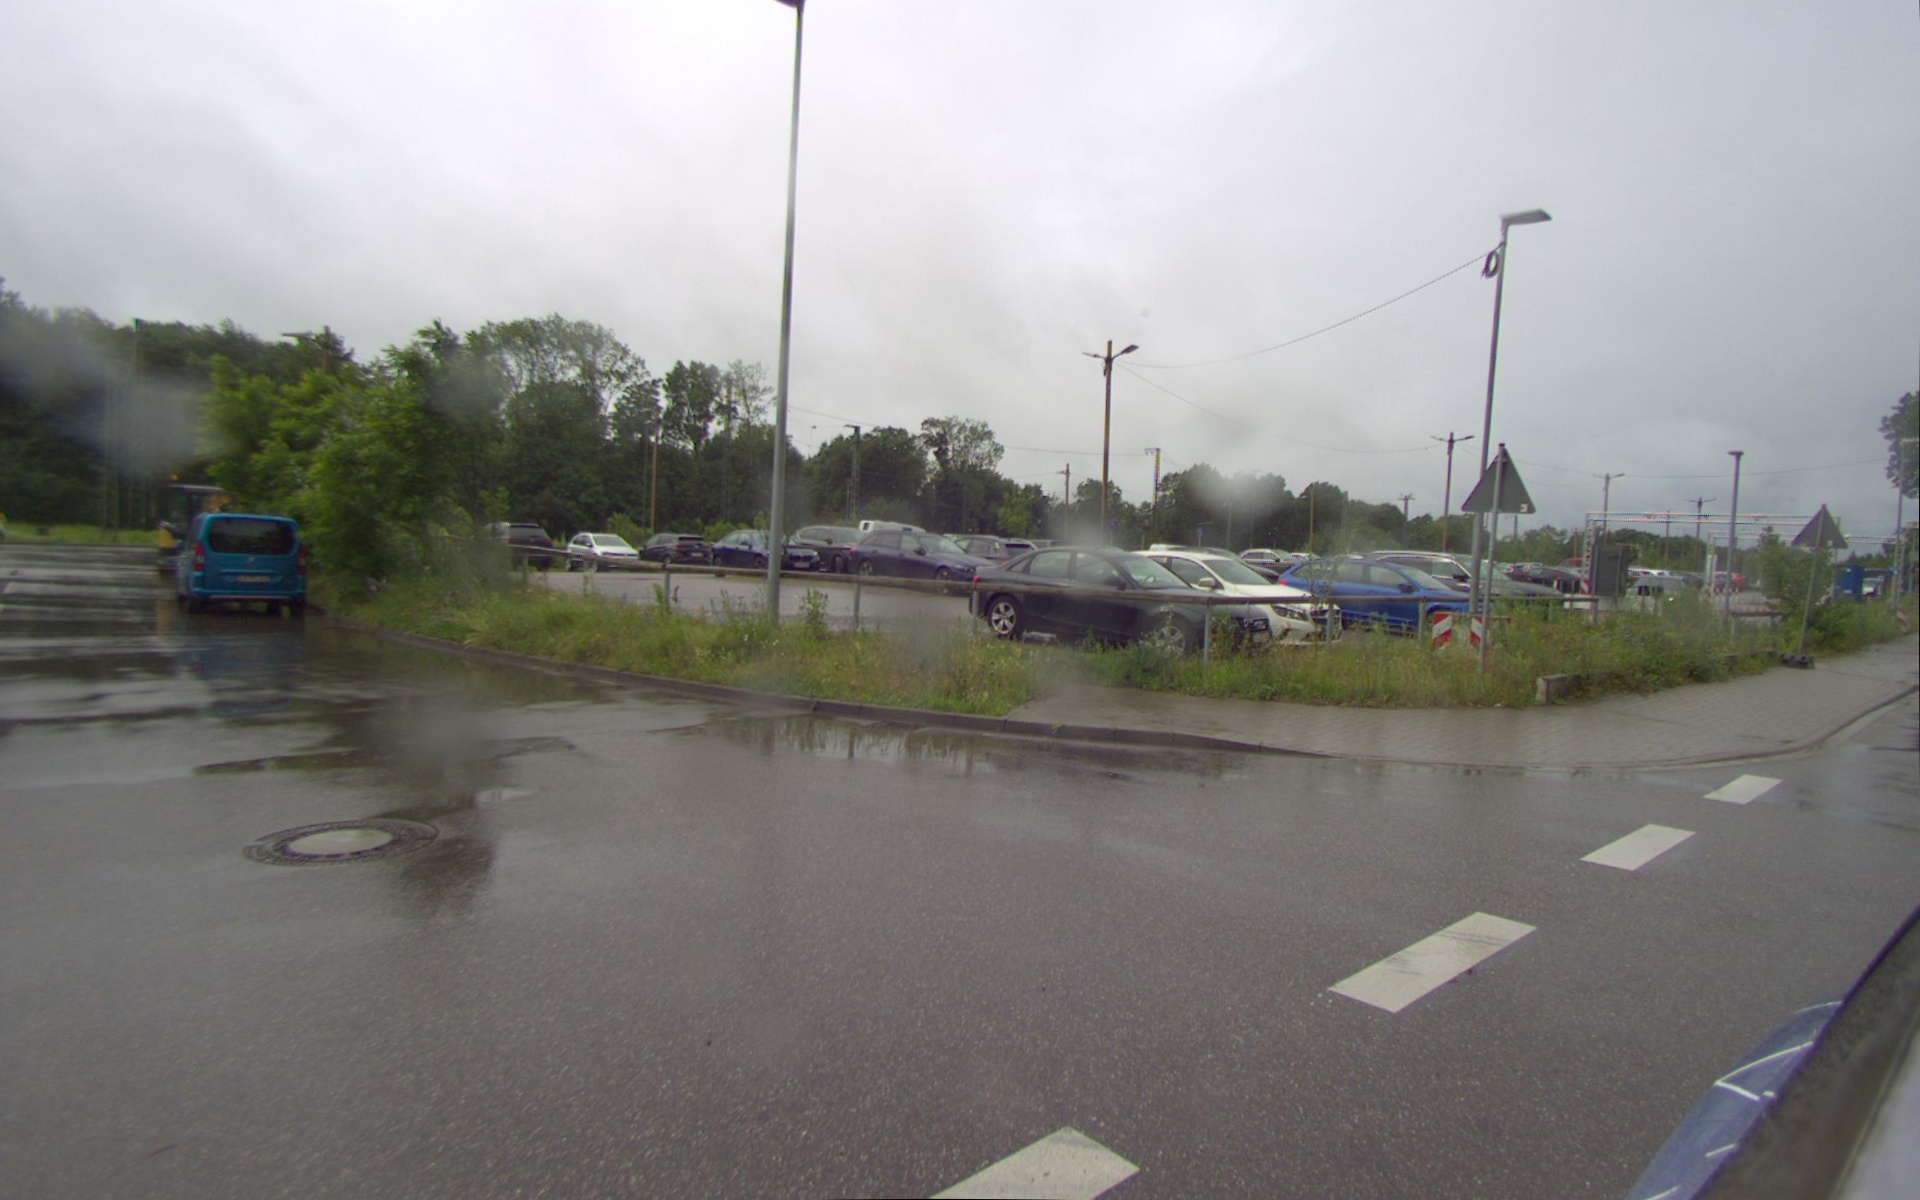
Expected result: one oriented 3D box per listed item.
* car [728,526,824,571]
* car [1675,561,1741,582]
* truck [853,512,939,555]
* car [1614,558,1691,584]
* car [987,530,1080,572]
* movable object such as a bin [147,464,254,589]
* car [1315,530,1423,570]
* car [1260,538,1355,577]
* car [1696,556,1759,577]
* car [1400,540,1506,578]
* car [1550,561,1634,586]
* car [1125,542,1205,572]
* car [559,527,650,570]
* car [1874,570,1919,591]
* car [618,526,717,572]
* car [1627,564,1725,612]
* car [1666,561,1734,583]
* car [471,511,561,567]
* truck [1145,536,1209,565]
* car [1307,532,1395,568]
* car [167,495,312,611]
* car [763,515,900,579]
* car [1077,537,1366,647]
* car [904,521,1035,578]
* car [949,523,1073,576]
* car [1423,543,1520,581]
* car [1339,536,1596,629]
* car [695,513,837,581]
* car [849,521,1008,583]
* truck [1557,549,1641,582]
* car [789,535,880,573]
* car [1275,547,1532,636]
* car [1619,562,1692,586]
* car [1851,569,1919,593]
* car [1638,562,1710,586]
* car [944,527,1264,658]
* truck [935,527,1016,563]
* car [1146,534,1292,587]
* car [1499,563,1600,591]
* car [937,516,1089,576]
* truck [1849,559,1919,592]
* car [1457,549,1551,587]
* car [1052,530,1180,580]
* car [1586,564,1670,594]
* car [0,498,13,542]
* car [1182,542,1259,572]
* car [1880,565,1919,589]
[{"bbox_3d":[-7.828,-2.182,42.935,3.983,1.748,1.871,5,4,40],"label":"car"},{"bbox_3d":[61.354,-2.372,83.003,1.789,1.443,3.964,-2,6,-39],"label":"car"},{"bbox_3d":[-3.878,-4.041,61.707,4.996,2.430,2.076,-1,4,-42],"label":"truck"},{"bbox_3d":[47.565,-1.995,69.559,1.746,1.507,3.964,-2,6,-39],"label":"car"},{"bbox_3d":[3.769,-2.556,52.502,1.986,2.022,4.795,-1,4,-41],"label":"car"},{"bbox_3d":[-20.075,-1.885,26.696,1.966,3.029,3.995,0,3,-41],"label":"movable object such as a bin"},{"bbox_3d":[17.692,-2.200,43.870,1.893,1.501,3.843,-2,7,-38],"label":"car"},{"bbox_3d":[17.439,-2.173,50.891,1.893,1.623,4.072,-2,7,-40],"label":"car"},{"bbox_3d":[67.332,-2.973,88.829,1.775,1.555,3.964,-2,6,-39],"label":"car"},{"bbox_3d":[23.594,-1.991,48.537,1.893,1.501,4.059,-2,7,-38],"label":"car"},{"bbox_3d":[37.805,-1.611,60.603,1.617,1.235,3.903,-2,6,-36],"label":"car"},{"bbox_3d":[12.236,-2.614,60.518,1.986,1.608,4.327,-1,4,-41],"label":"car"},{"bbox_3d":[-13.254,-1.944,37.615,1.858,1.414,3.996,1,3,-41],"label":"car"},{"bbox_3d":[71.929,-1.455,76.448,1.833,1.437,4.164,-3,4,-43],"label":"car"},{"bbox_3d":[-11.374,-2.007,39.148,1.908,1.587,4.597,1,3,-41],"label":"car"},{"bbox_3d":[24.893,-0.422,35.154,4.155,1.474,1.898,0,4,-43],"label":"car"},{"bbox_3d":[59.325,-2.277,81.169,1.853,1.443,3.964,-2,6,-39],"label":"car"},{"bbox_3d":[-15.459,-2.131,35.121,1.856,1.741,3.999,1,3,-38],"label":"car"},{"bbox_3d":[16.959,-3.862,78.970,5.186,2.037,2.087,0,4,-40],"label":"truck"},{"bbox_3d":[21.270,-2.745,55.157,1.802,1.678,4.069,-3,7,-42],"label":"car"},{"bbox_3d":[-13.678,-0.896,19.118,1.800,1.945,3.994,0,3,-42],"label":"car"},{"bbox_3d":[-4.086,-1.713,31.639,2.010,1.691,4.449,-3,8,-43],"label":"car"},{"bbox_3d":[4.050,-0.247,16.239,1.858,1.528,4.191,-2,4,-40],"label":"car"},{"bbox_3d":[0.253,-1.788,34.788,2.009,1.623,4.452,-3,7,-41],"label":"car"},{"bbox_3d":[1.797,-1.908,37.284,2.009,1.623,4.452,-3,7,-41],"label":"car"},{"bbox_3d":[25.543,-1.929,50.630,1.754,1.602,3.917,-2,7,-38],"label":"car"},{"bbox_3d":[11.299,-0.499,22.867,2.089,1.755,4.698,-2,5,-36],"label":"car"},{"bbox_3d":[-5.740,-1.603,29.647,2.010,1.691,4.449,-3,8,-43],"label":"car"},{"bbox_3d":[-0.865,-1.228,25.421,1.965,1.426,3.996,-2,4,-40],"label":"car"},{"bbox_3d":[51.756,-2.814,82.014,2.116,2.396,5.300,-1,5,-41],"label":"truck"},{"bbox_3d":[-5.550,-2.021,44.464,3.984,1.511,1.689,5,4,40],"label":"car"},{"bbox_3d":[8.620,-0.270,19.979,1.788,1.535,4.305,-2,4,-40],"label":"car"},{"bbox_3d":[50.969,-1.911,74.199,1.853,1.443,3.964,-2,6,-39],"label":"car"},{"bbox_3d":[61.292,-1.265,66.625,1.874,1.410,3.776,-3,4,-43],"label":"car"},{"bbox_3d":[53.070,-1.945,75.254,1.853,1.443,3.964,-2,6,-39],"label":"car"},{"bbox_3d":[1.962,-0.226,14.613,4.216,1.416,1.863,7,7,41],"label":"car"},{"bbox_3d":[1.038,-3.578,66.109,4.989,2.163,2.079,0,4,-37],"label":"truck"},{"bbox_3d":[9.056,-1.439,35.695,4.620,1.737,1.988,3,4,44],"label":"car"},{"bbox_3d":[33.802,-1.365,58.112,1.945,1.235,4.597,-3,7,-42],"label":"car"},{"bbox_3d":[1.370,-1.481,27.524,1.965,1.503,3.996,-2,4,-40],"label":"car"},{"bbox_3d":[73.113,-1.912,79.207,2.075,2.431,5.039,-2,4,-43],"label":"truck"},{"bbox_3d":[27.885,-1.685,51.943,1.754,1.602,3.788,-2,7,-38],"label":"car"},{"bbox_3d":[6.010,-1.800,39.425,2.009,1.623,4.714,-3,7,-41],"label":"car"},{"bbox_3d":[41.548,-1.328,63.009,1.837,1.507,3.964,-2,6,-39],"label":"car"},{"bbox_3d":[-36.305,-2.893,35.789,1.848,1.620,3.999,2,3,2],"label":"car"},{"bbox_3d":[16.525,-2.743,64.316,1.988,1.741,4.324,-1,5,-43],"label":"car"},{"bbox_3d":[68.467,-1.645,72.261,1.866,1.613,3.900,-3,4,-43],"label":"car"}]
